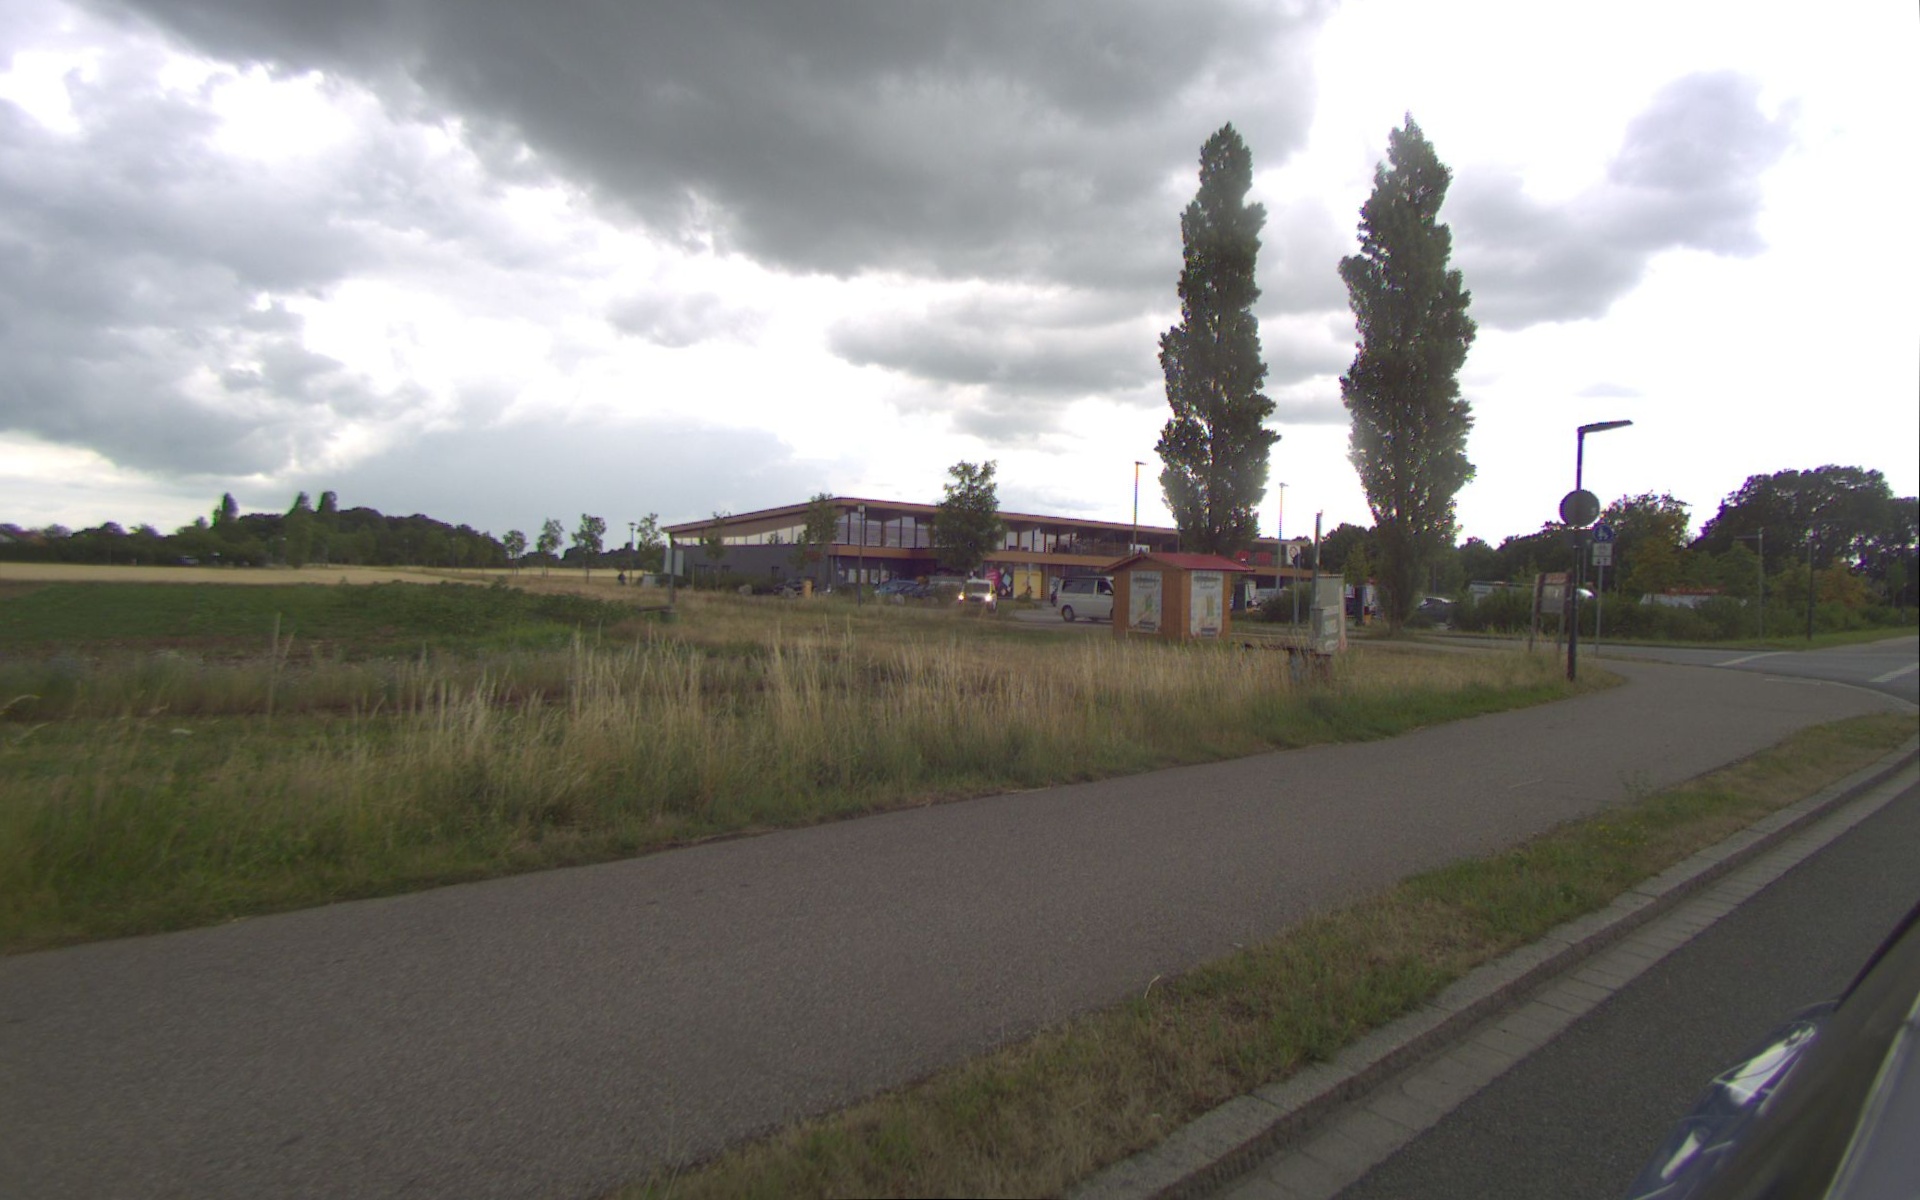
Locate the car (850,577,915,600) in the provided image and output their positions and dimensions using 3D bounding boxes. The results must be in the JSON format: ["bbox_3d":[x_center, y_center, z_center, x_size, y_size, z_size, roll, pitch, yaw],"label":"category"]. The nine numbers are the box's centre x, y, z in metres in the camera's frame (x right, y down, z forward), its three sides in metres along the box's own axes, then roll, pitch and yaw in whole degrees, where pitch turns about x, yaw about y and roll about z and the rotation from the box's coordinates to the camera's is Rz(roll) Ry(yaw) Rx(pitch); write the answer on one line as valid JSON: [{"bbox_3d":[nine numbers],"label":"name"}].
[{"bbox_3d":[-5.454,-0.803,71.578,4.123,1.427,1.999,1,3,-39],"label":"car"}]

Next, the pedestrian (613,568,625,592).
[{"bbox_3d":[-24.840,-1.456,73.697,0.589,1.783,0.483,1,3,-40],"label":"pedestrian"}]

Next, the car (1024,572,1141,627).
[{"bbox_3d":[5.292,-0.049,44.434,1.963,2.038,5.233,1,3,-38],"label":"car"}]

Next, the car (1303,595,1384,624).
[{"bbox_3d":[23.243,0.560,61.431,1.869,1.450,4.187,1,3,-41],"label":"car"}]

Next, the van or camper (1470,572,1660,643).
[{"bbox_3d":[25.586,0.229,43.087,2.242,2.494,6.479,1,3,-42],"label":"van or camper"}]

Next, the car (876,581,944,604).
[{"bbox_3d":[-3.260,-0.485,66.395,4.179,1.365,1.838,1,3,-39],"label":"car"}]

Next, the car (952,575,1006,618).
[{"bbox_3d":[1.031,-0.245,53.116,1.970,2.038,3.986,3,3,13],"label":"car"}]
